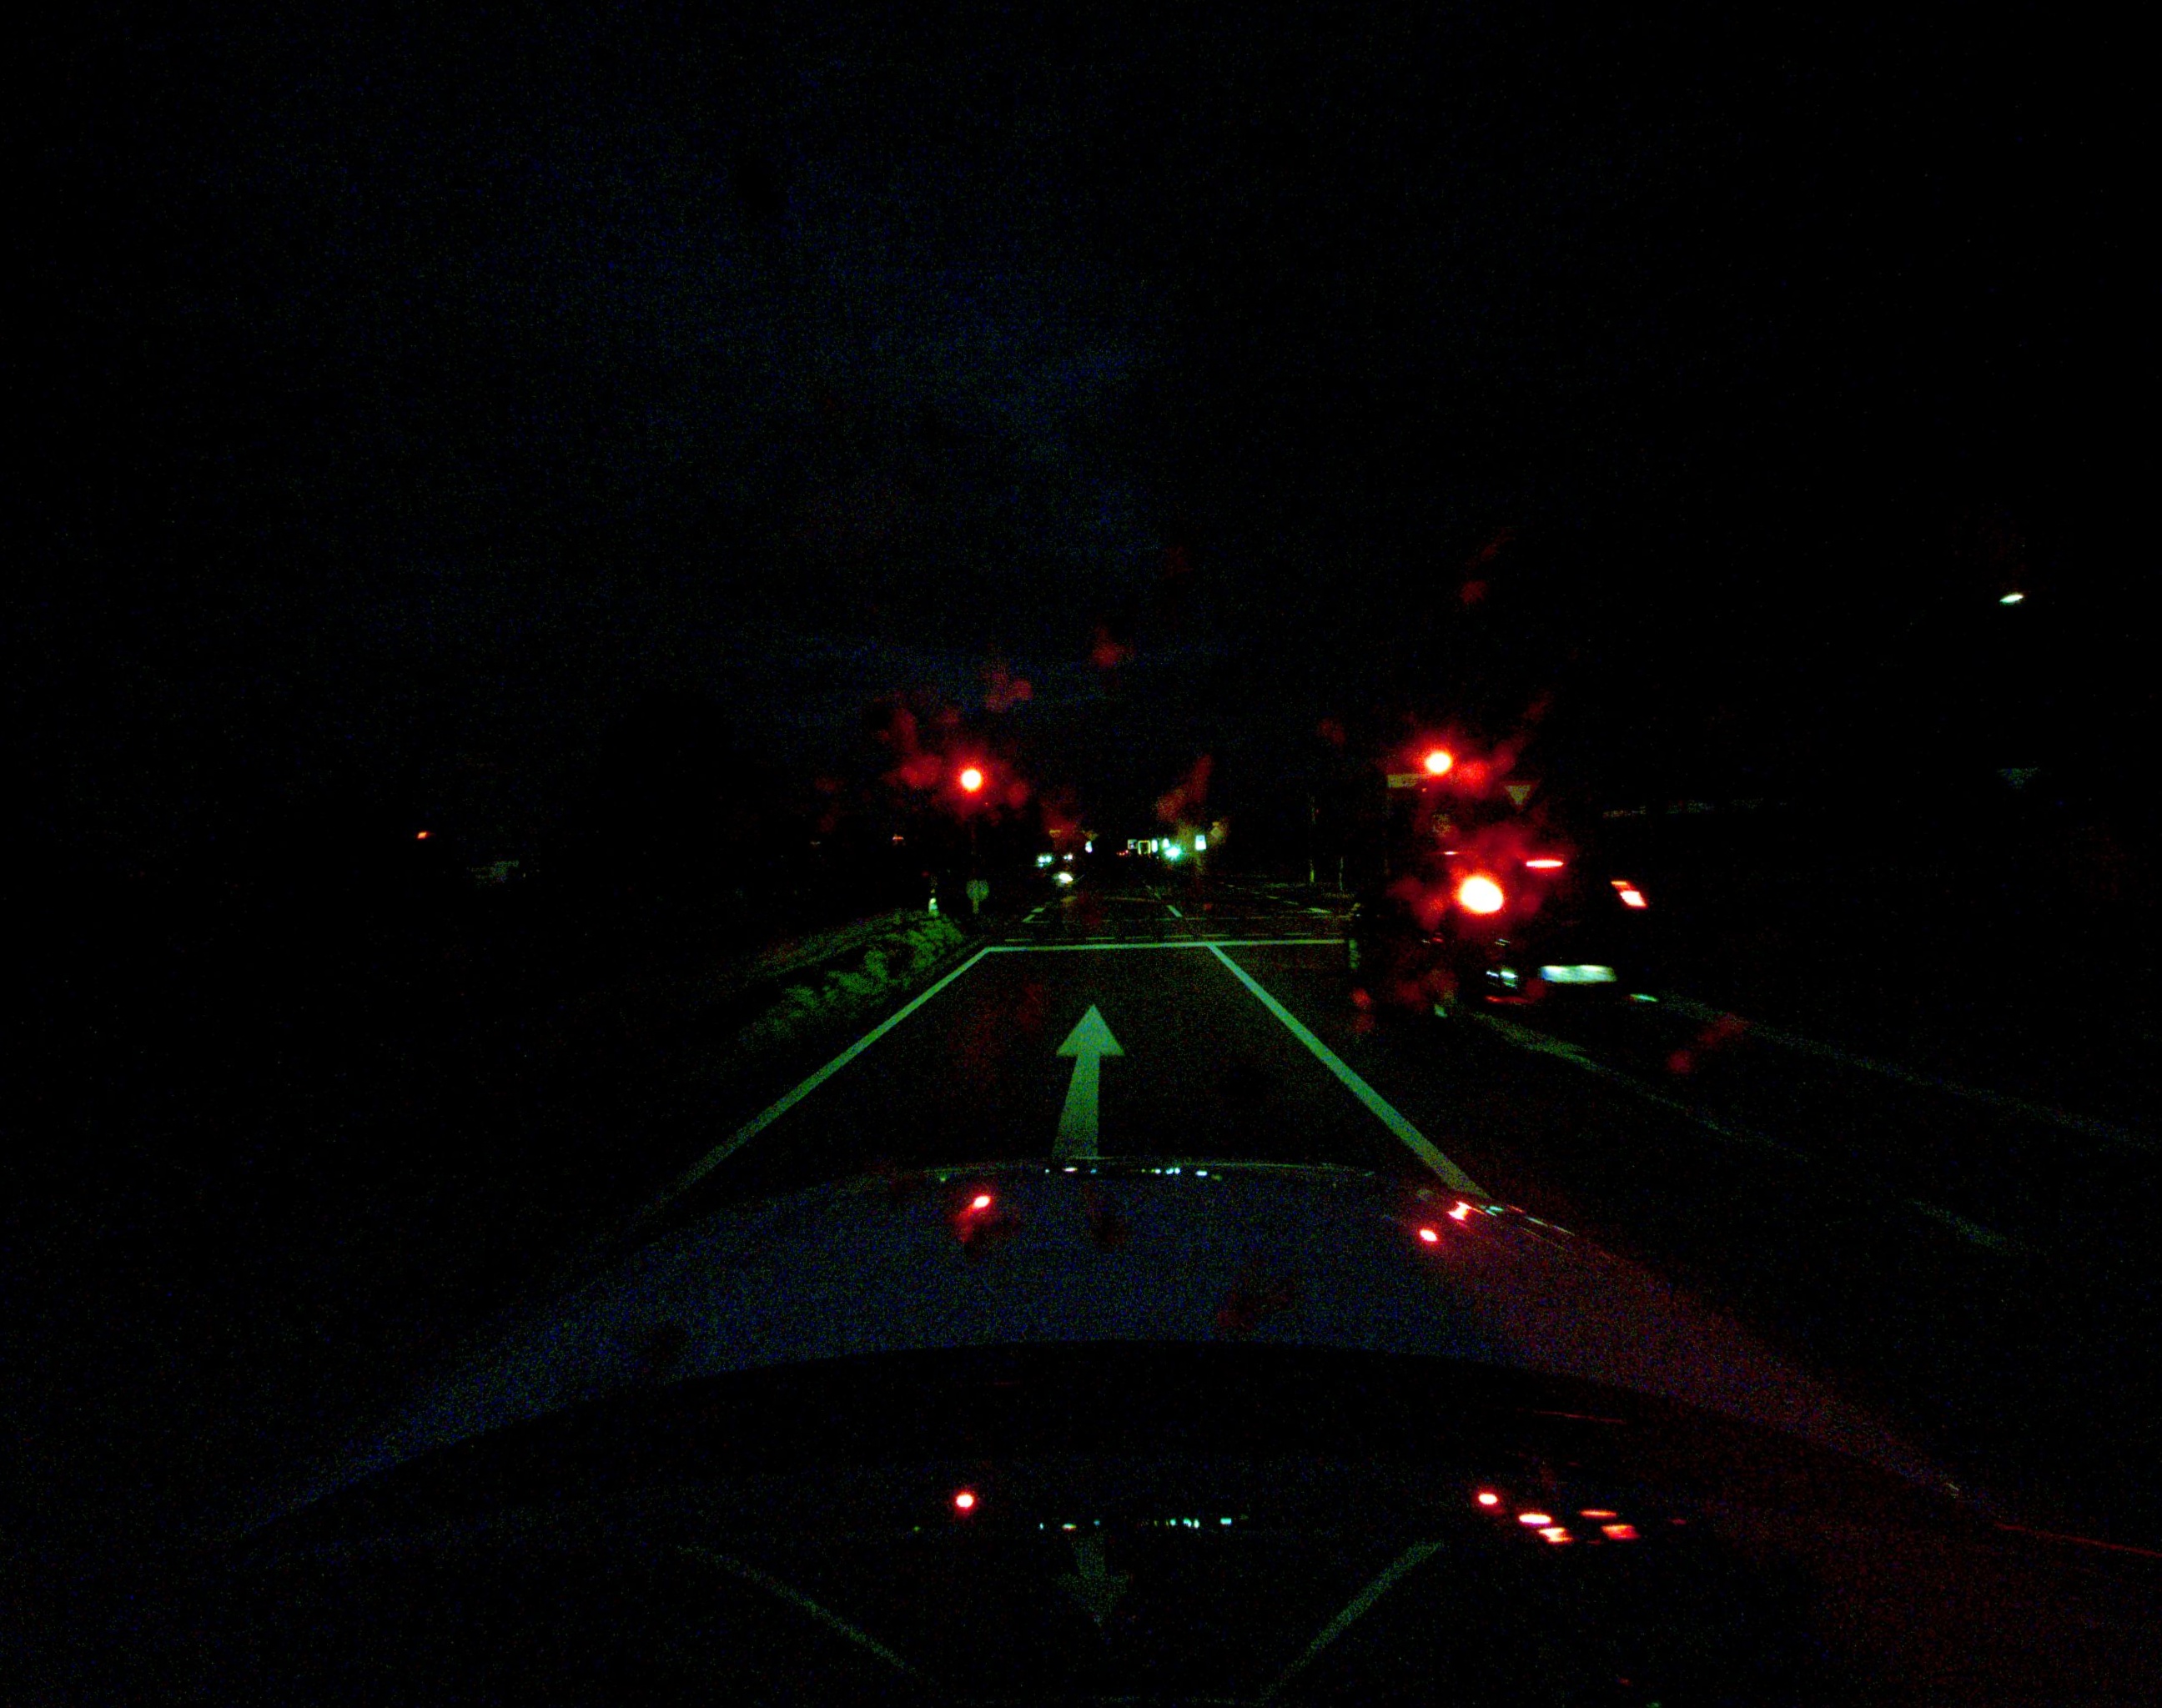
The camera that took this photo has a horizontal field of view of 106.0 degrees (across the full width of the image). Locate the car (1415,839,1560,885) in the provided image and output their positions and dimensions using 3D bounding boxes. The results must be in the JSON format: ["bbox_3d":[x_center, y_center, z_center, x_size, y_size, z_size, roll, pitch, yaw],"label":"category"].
[{"bbox_3d":[15.572,0.291,31.383,4.583,1.520,2.001,-3,0,2],"label":"car"}]

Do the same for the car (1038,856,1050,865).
[{"bbox_3d":[-7.062,1.271,156.207,1.986,1.519,4.299,-2,0,2],"label":"car"}]

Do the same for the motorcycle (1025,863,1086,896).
[{"bbox_3d":[-0.976,0.935,29.849,0.986,1.098,2.481,-2,0,-36],"label":"motorcycle"}]

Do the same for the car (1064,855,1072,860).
[{"bbox_3d":[-3.677,1.107,234.174,1.986,1.387,4.002,-2,0,2],"label":"car"}]

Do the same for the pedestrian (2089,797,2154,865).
[{"bbox_3d":[29.603,-0.656,23.189,0.732,1.835,0.870,-3,-3,-25],"label":"pedestrian"}]

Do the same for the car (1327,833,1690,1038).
[{"bbox_3d":[3.827,0.617,8.174,1.663,1.520,4.109,-1,0,3],"label":"car"}]

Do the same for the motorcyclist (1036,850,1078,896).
[{"bbox_3d":[-0.890,0.685,29.759,1.146,1.584,0.962,-2,0,-35],"label":"motorcyclist"}]
